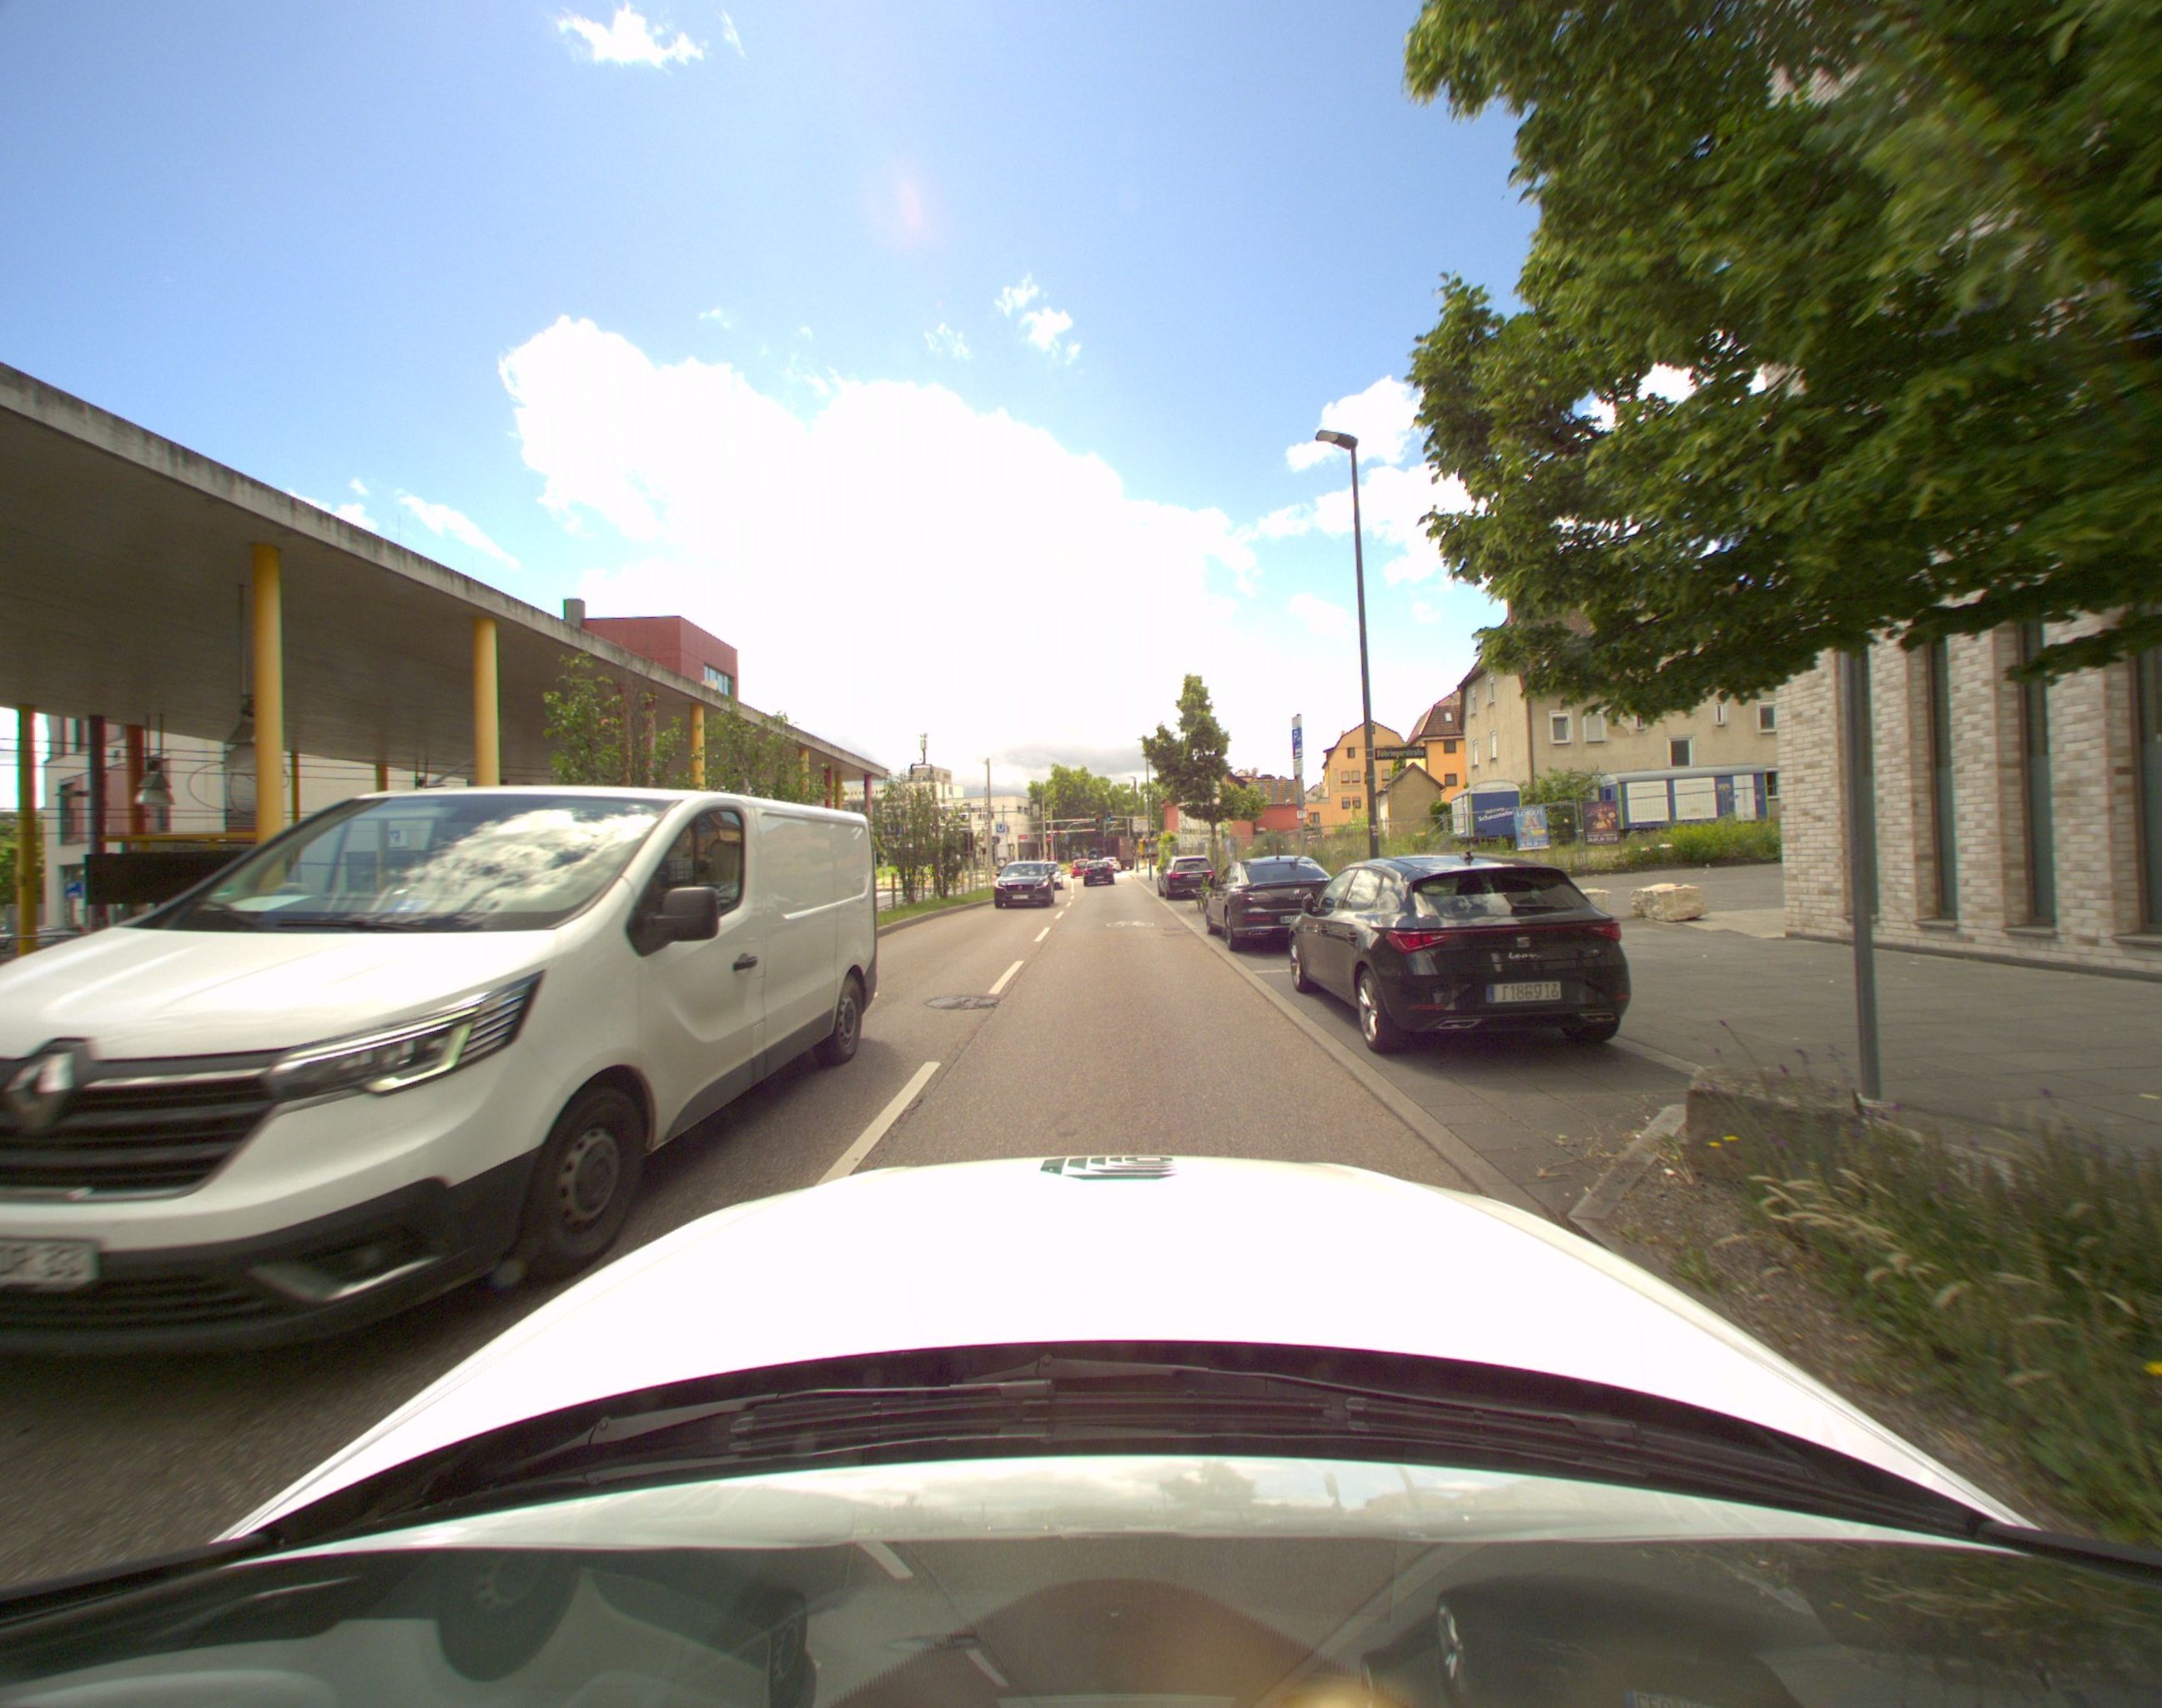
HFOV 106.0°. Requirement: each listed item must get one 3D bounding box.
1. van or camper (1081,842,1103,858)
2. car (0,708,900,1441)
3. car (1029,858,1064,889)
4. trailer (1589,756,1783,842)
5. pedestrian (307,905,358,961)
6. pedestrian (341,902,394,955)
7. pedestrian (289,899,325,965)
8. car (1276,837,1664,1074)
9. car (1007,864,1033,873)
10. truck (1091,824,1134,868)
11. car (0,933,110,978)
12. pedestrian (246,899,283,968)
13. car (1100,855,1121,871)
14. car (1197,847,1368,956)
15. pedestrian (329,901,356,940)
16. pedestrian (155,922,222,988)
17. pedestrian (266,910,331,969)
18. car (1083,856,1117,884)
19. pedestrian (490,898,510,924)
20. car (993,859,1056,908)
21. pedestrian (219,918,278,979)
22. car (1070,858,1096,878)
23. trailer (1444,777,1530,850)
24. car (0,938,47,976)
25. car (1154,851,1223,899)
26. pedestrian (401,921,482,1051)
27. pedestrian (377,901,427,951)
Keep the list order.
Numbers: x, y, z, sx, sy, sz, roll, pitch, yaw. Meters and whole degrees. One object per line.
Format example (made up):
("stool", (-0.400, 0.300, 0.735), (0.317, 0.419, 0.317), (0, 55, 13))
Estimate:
("van or camper", (2.138, -0.733, 155.501), (2.156, 2.806, 6.100), (-1, -2, 21))
("car", (-2.712, 0.598, 4.694), (1.996, 1.917, 5.067), (0, 0, 2))
("car", (-1.825, 1.012, 44.076), (1.766, 1.508, 3.997), (-2, 0, -2))
("trailer", (25.612, -2.247, 34.777), (6.099, 3.122, 2.420), (-3, -1, 12))
("pedestrian", (-19.660, 2.063, 21.396), (0.648, 1.379, 0.702), (0, 0, 3))
("pedestrian", (-19.550, 2.025, 22.330), (0.819, 1.379, 0.702), (0, 0, 2))
("pedestrian", (-21.329, 2.145, 22.437), (0.481, 1.775, 0.492), (0, 1, -1))
("car", (3.023, 0.667, 7.380), (1.685, 1.461, 4.150), (-3, 0, 4))
("car", (-10.131, 2.392, 134.589), (1.974, 1.464, 4.025), (-2, -1, 41))
("truck", (3.530, -0.745, 89.171), (3.182, 4.536, 9.056), (-1, -2, 11))
("car", (-35.589, 3.513, 28.178), (3.672, 1.325, 1.657), (-5, -4, 25))
("pedestrian", (-22.297, 2.171, 22.251), (0.481, 1.820, 0.492), (0, 1, -1))
("car", (2.796, 0.866, 78.542), (1.882, 1.465, 4.069), (-3, -1, 0))
("car", (3.180, 0.679, 13.824), (1.857, 1.451, 4.646), (-3, 0, 2))
("pedestrian", (-25.249, 2.255, 27.849), (0.514, 1.305, 0.521), (1, -3, -22))
("pedestrian", (-19.919, 2.239, 18.189), (0.683, 1.379, 0.705), (0, 0, 3))
("pedestrian", (-19.593, 2.135, 20.410), (0.923, 1.379, 0.702), (0, 0, 2))
("car", (1.052, 0.887, 46.492), (1.721, 1.456, 3.807), (-2, 0, -1))
("pedestrian", (-23.664, 2.315, 33.169), (0.362, 1.023, 0.562), (-1, -2, 4))
("car", (-1.813, 0.924, 27.433), (1.718, 1.521, 4.255), (0, 0, 1))
("pedestrian", (-19.875, 2.242, 19.447), (0.648, 1.379, 0.702), (0, 0, 3))
("car", (0.119, 1.064, 63.776), (1.709, 1.393, 3.802), (-2, 0, -5))
("trailer", (19.332, -1.813, 39.120), (2.386, 3.122, 6.186), (-3, 0, 15))
("car", (-40.498, 3.900, 30.314), (3.672, 1.325, 1.657), (-5, -4, 25))
("car", (3.662, 0.686, 28.444), (1.776, 1.451, 4.476), (-3, 0, 0))
("pedestrian", (-9.520, 1.938, 12.146), (0.584, 1.830, 0.710), (0, -2, 4))
("pedestrian", (-19.467, 2.053, 23.365), (0.819, 1.379, 0.702), (0, 0, 2))
